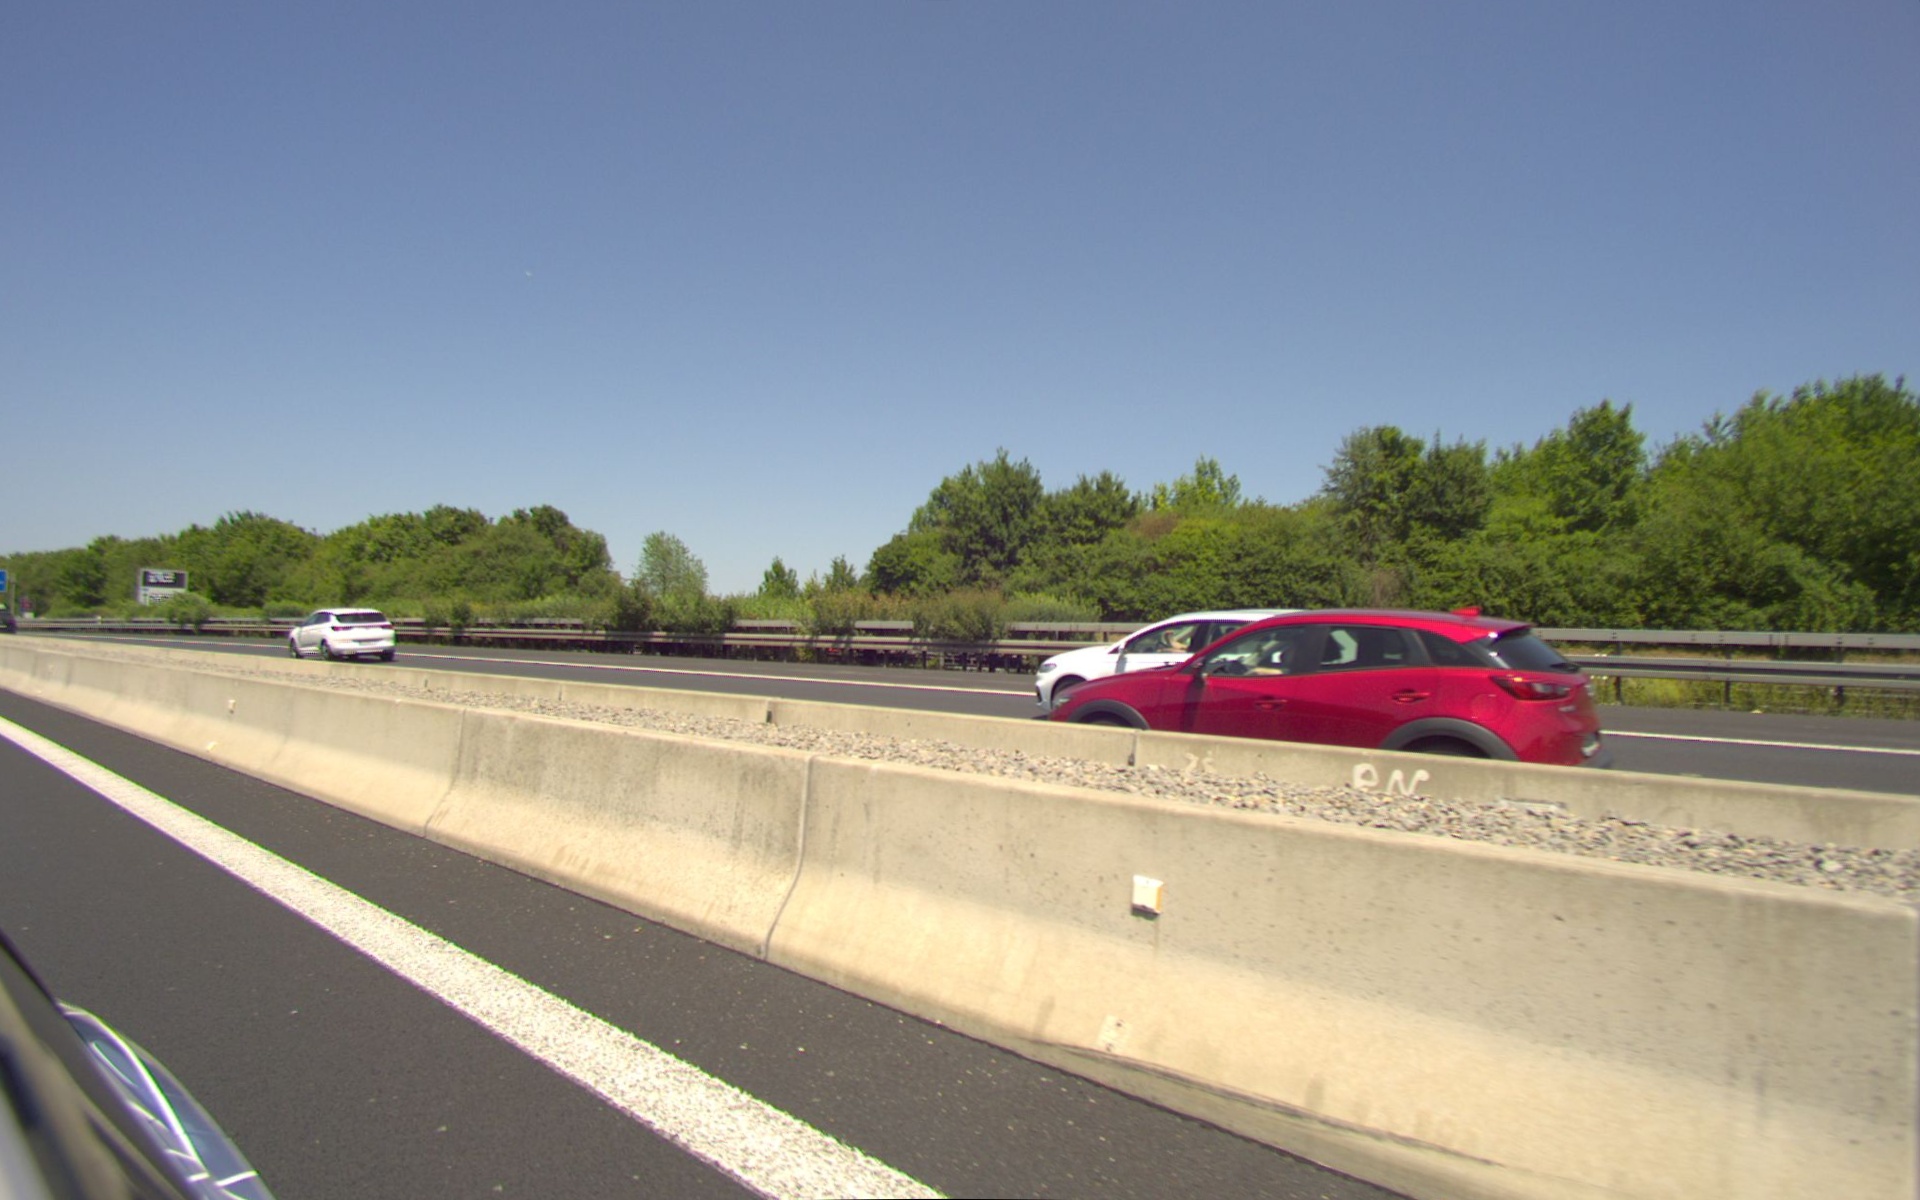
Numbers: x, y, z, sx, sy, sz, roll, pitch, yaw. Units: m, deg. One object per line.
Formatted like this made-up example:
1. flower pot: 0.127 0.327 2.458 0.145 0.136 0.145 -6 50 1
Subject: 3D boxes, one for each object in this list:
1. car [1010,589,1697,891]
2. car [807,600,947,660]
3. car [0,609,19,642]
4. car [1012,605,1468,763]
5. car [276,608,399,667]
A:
1. car: 2.805 0.794 7.902 4.632 1.671 1.973 0 -1 41
2. car: -2.774 0.994 33.467 4.421 1.871 1.975 -1 -2 37
3. car: -63.457 1.656 66.317 4.698 2.097 1.974 -1 -2 39
4. car: 3.217 0.842 12.369 5.039 1.555 1.973 0 -1 41
5. car: -18.938 1.078 30.725 4.661 1.678 1.849 0 -1 41
